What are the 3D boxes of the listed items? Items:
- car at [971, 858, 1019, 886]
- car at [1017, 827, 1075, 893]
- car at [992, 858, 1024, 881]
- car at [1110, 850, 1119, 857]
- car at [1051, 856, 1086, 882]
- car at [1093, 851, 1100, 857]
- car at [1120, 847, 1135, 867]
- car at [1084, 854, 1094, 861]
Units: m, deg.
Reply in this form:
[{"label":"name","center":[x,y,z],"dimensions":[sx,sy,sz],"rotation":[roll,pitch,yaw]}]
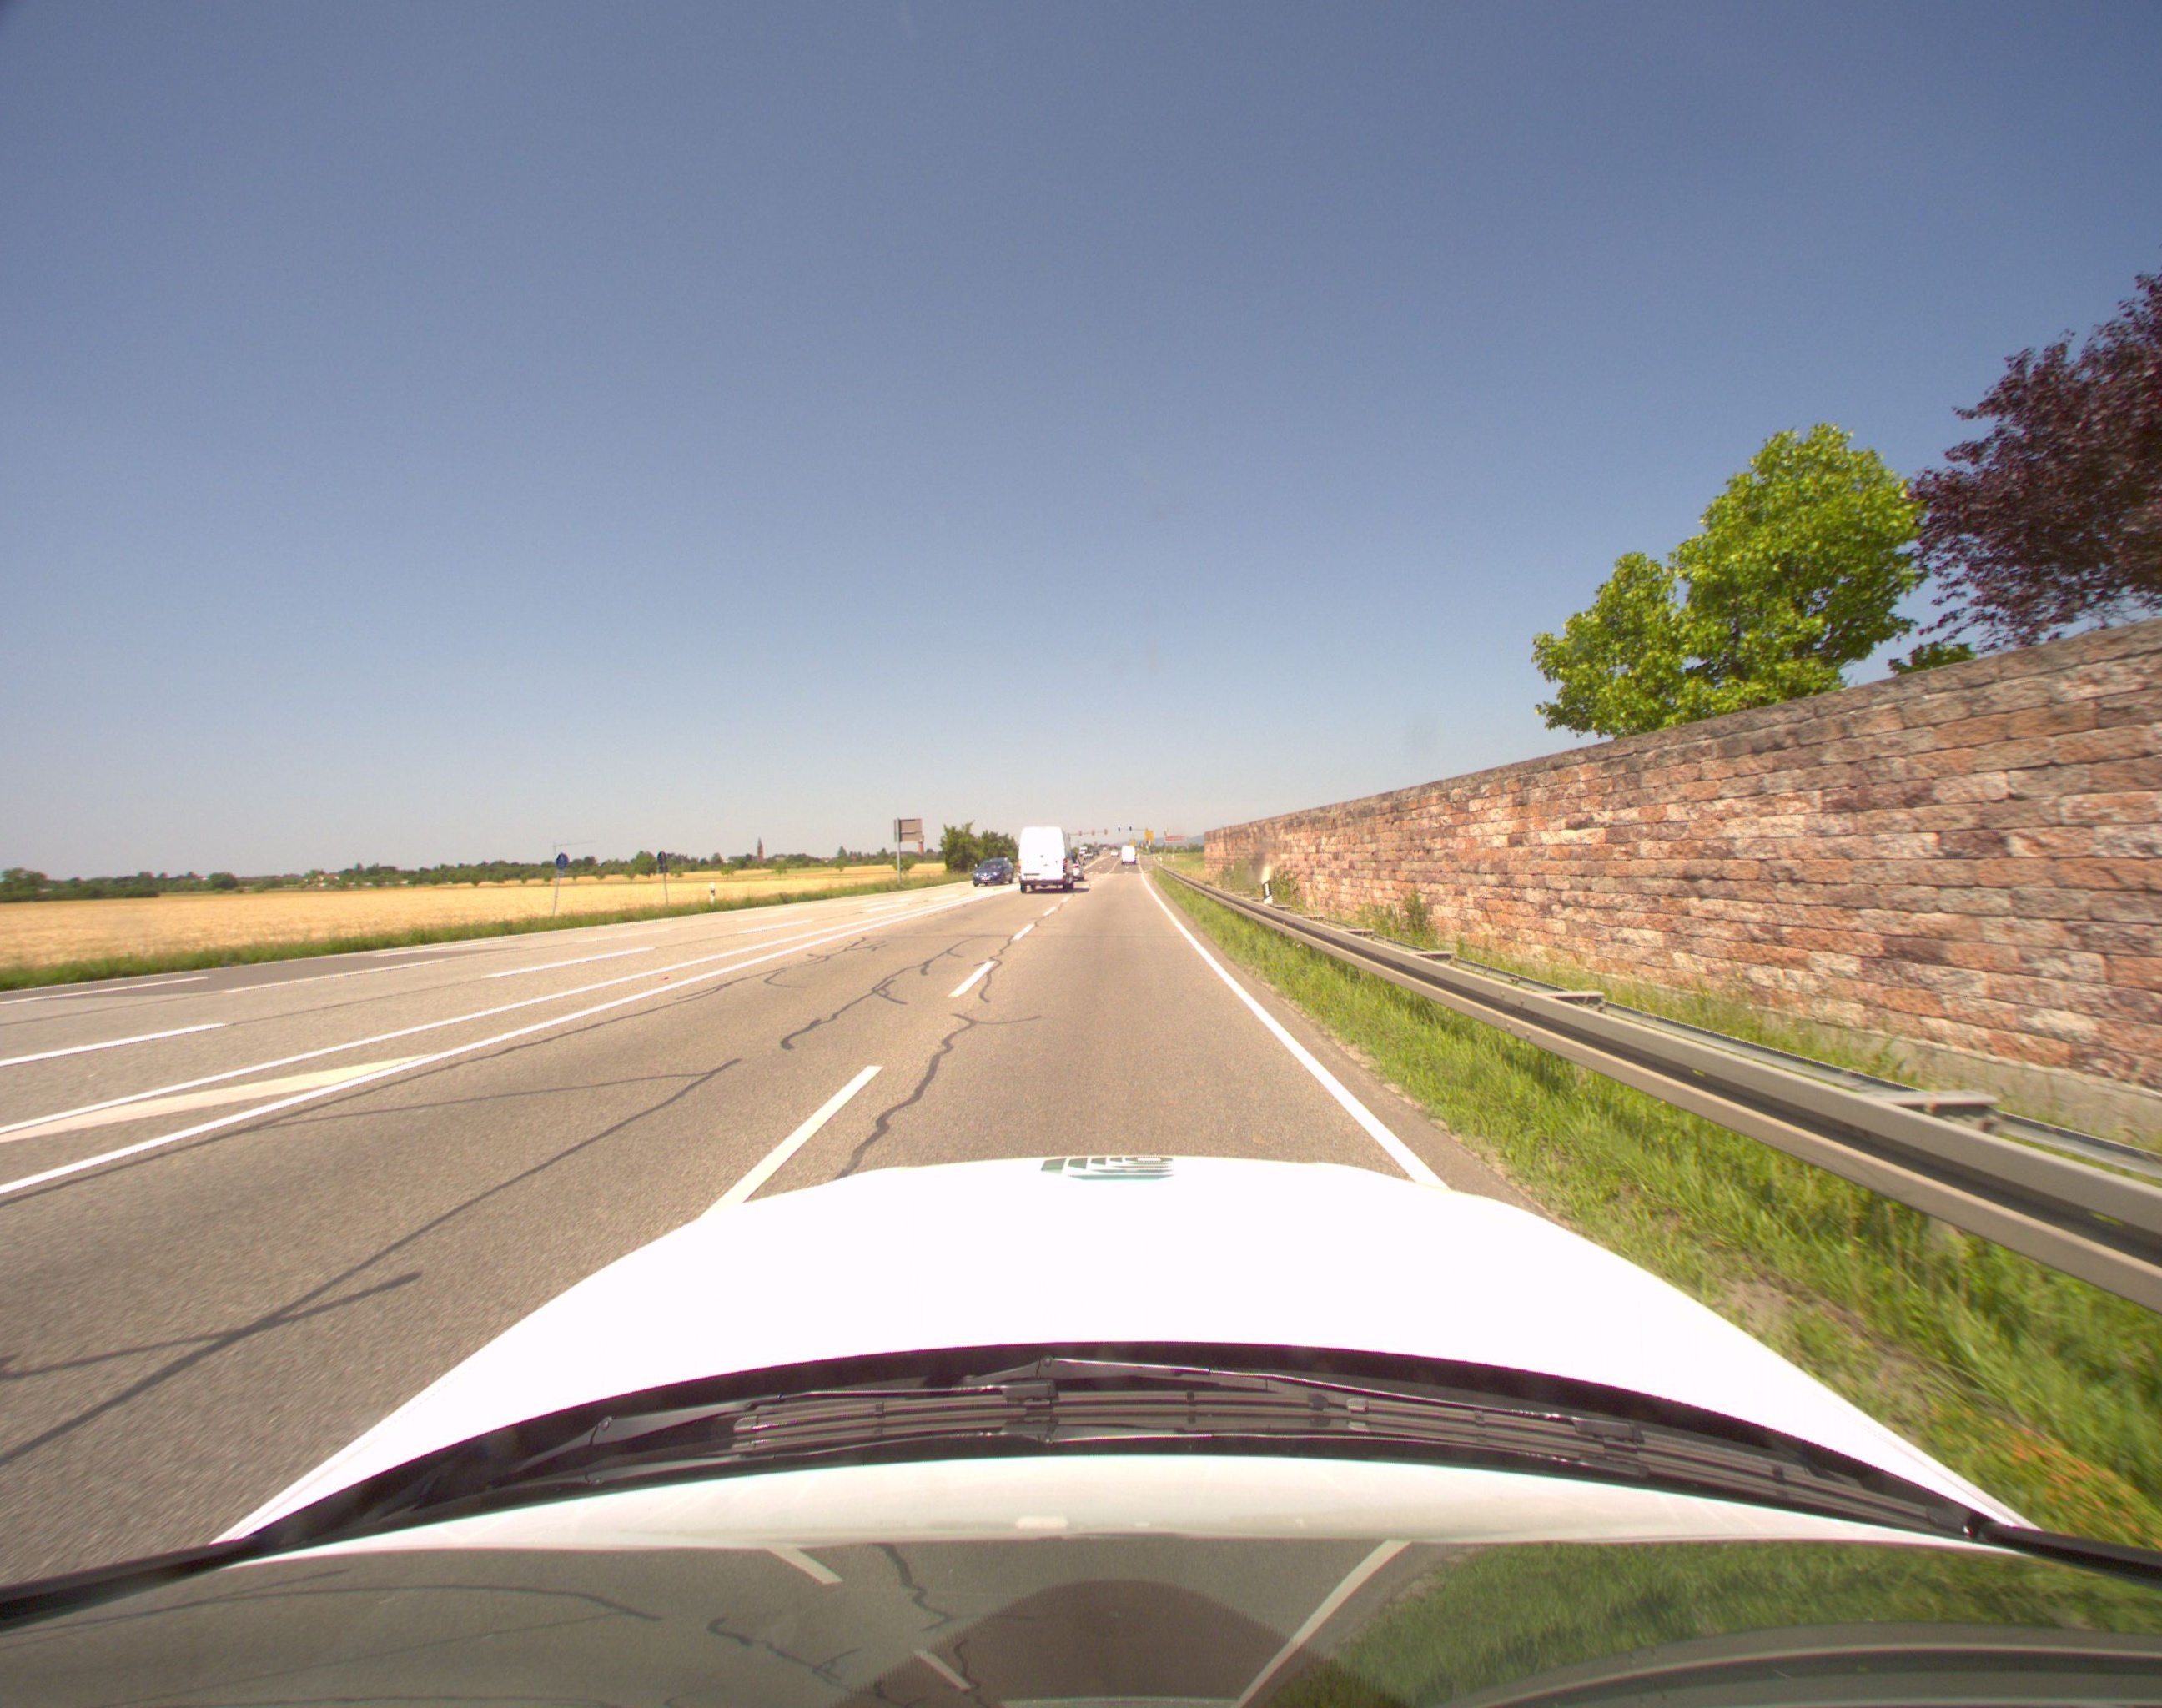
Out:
[{"label":"car","center":[-4.933,1.034,47.401],"dimensions":[1.749,1.457,4.240],"rotation":[-2,0,8]},{"label":"car","center":[-1.410,0.276,34.885],"dimensions":[2.031,2.620,5.743],"rotation":[0,-1,2]},{"label":"car","center":[-5.868,1.230,66.353],"dimensions":[1.656,1.676,4.470],"rotation":[-3,0,6]},{"label":"car","center":[8.081,-0.114,196.832],"dimensions":[1.985,1.703,4.279],"rotation":[0,-1,4]},{"label":"car","center":[-0.733,0.910,50.433],"dimensions":[1.792,1.508,4.200],"rotation":[-1,0,3]},{"label":"car","center":[4.376,0.032,229.644],"dimensions":[1.848,1.423,4.005],"rotation":[-1,-1,5]},{"label":"car","center":[6.491,0.374,114.220],"dimensions":[1.985,2.695,4.974],"rotation":[-2,0,3]},{"label":"car","center":[1.692,0.743,171.343],"dimensions":[1.848,1.423,4.005],"rotation":[-3,0,5]}]
